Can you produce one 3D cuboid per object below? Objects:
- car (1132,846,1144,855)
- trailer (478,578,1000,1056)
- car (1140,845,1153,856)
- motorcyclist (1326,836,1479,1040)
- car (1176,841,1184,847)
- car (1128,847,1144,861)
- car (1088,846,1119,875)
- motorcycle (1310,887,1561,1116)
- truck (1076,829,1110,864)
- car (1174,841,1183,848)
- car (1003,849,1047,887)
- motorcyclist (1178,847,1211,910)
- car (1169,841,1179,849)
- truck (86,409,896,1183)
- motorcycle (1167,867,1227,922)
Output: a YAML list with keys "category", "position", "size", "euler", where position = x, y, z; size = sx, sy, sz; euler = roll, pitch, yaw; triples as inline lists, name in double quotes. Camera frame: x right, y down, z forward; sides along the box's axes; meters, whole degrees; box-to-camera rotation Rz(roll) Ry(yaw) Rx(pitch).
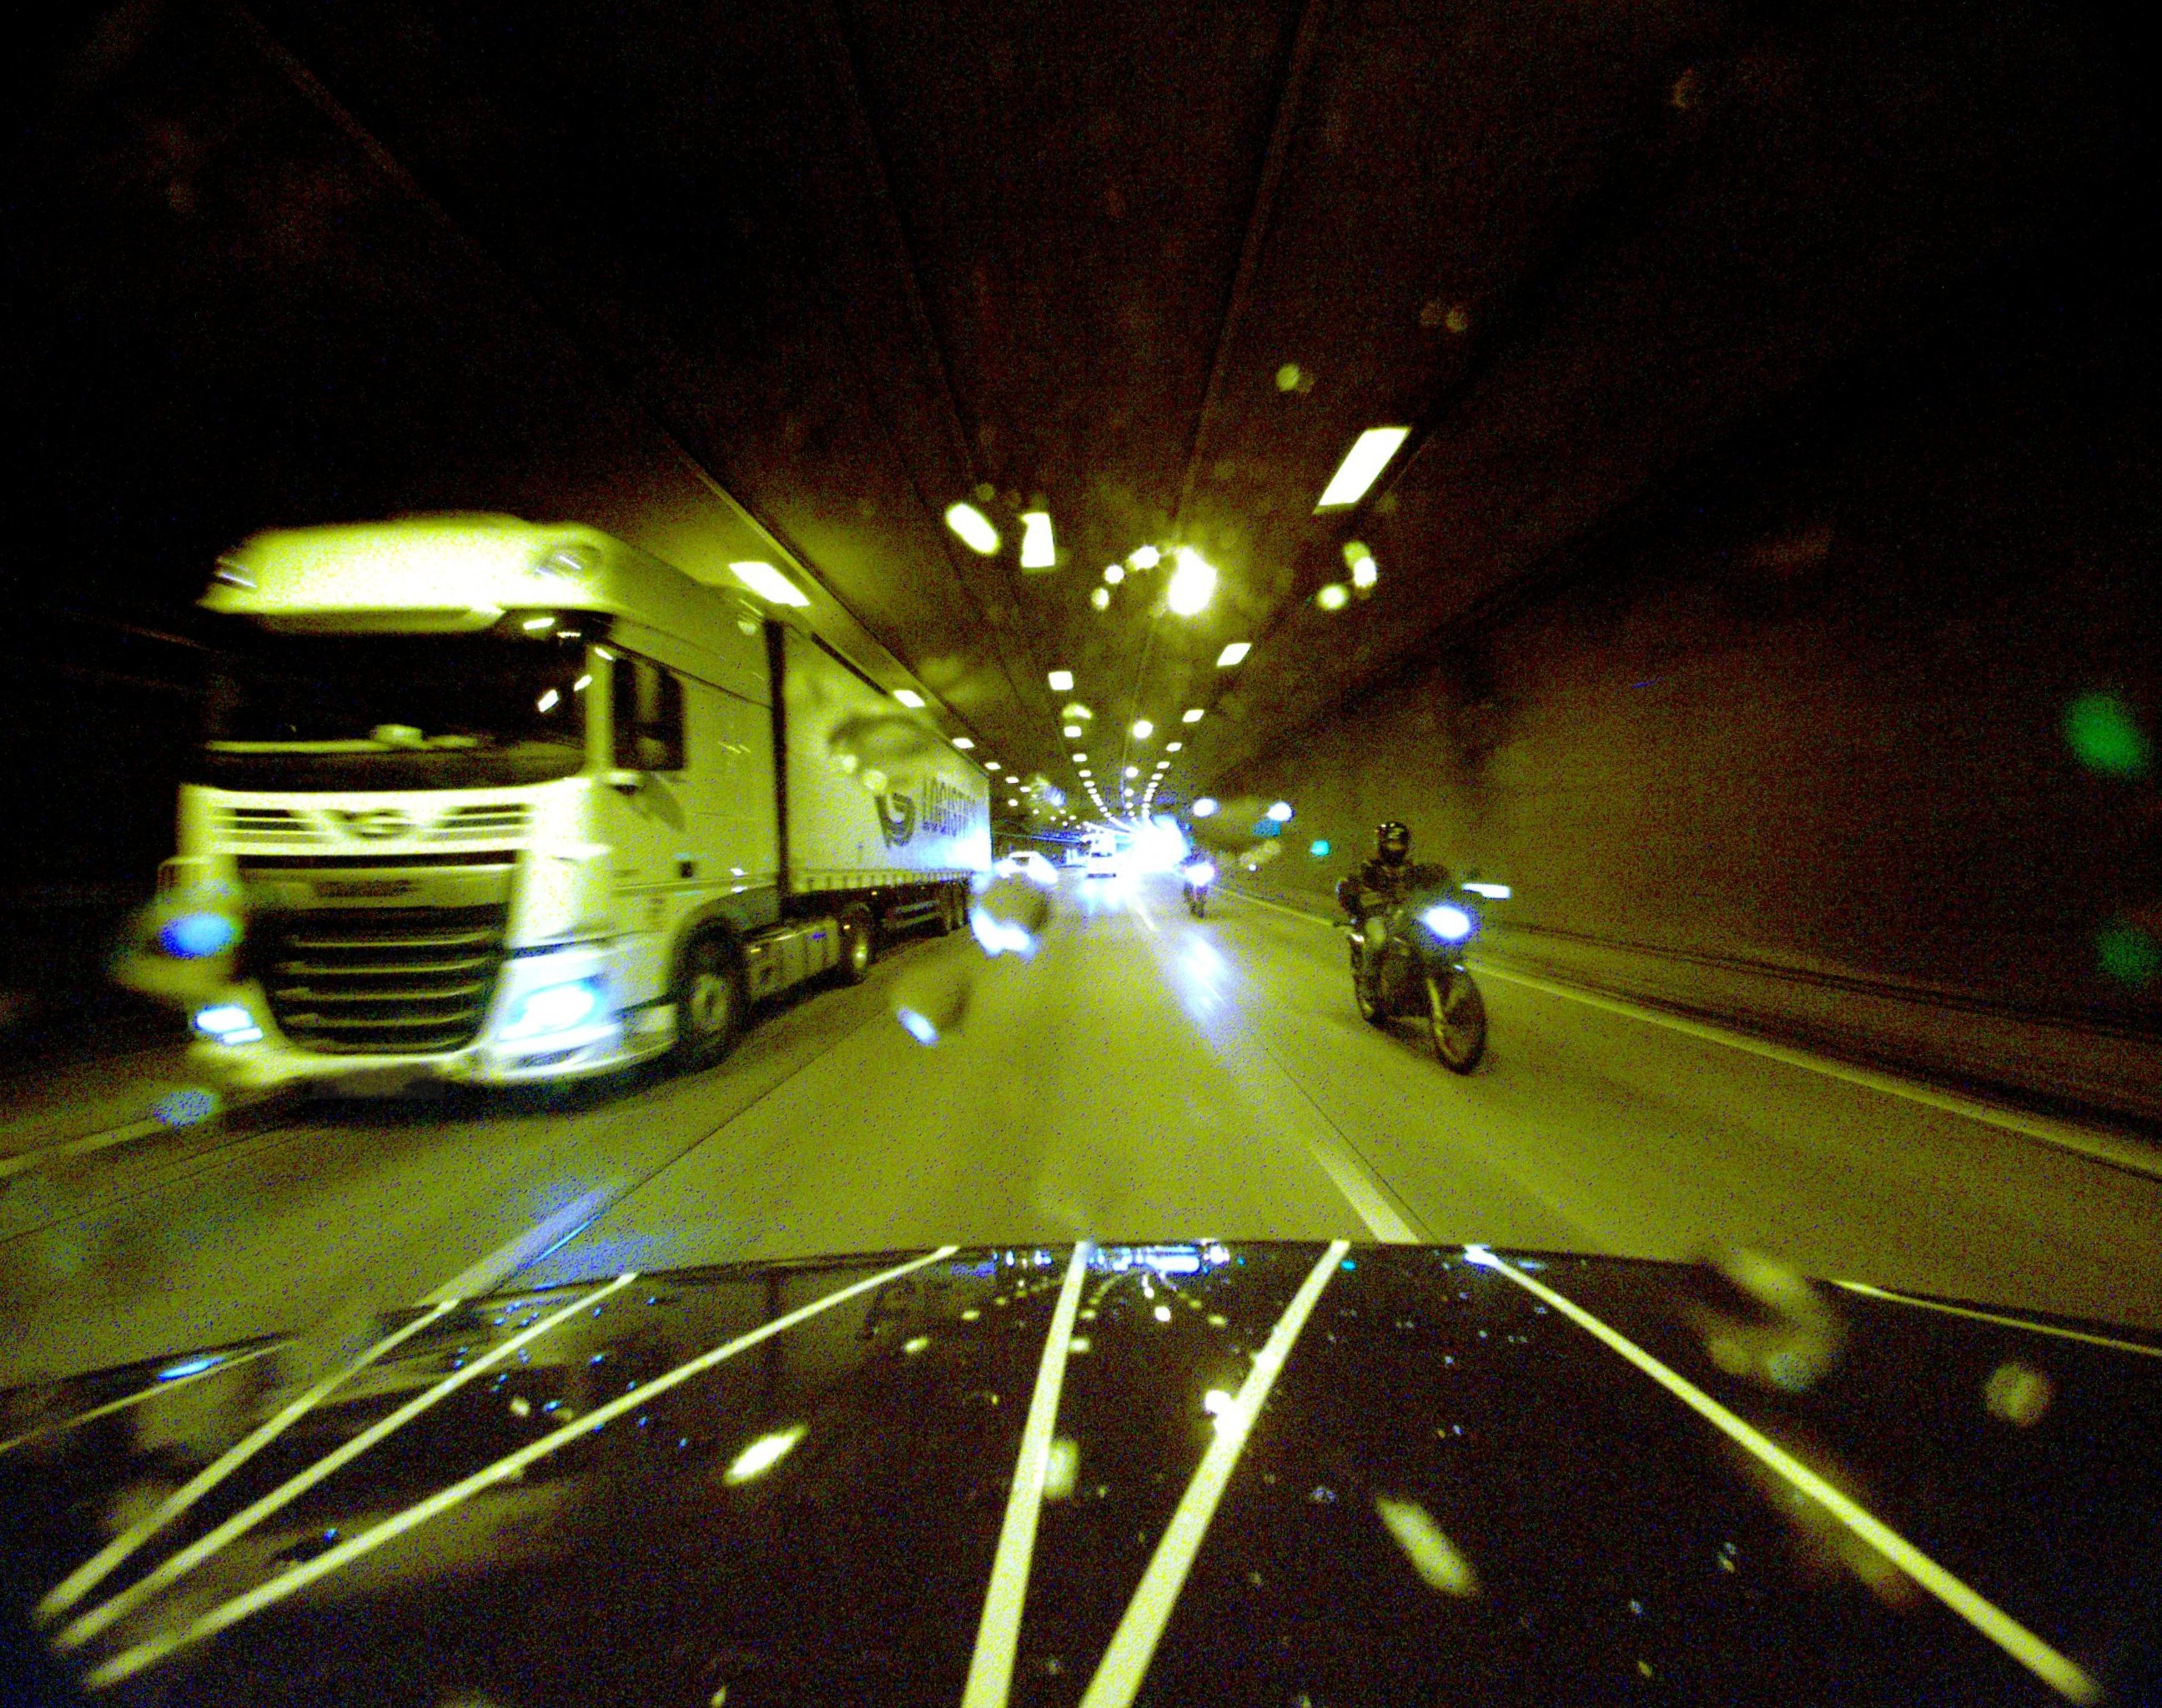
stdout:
- category: "car"
  position: [11.988, -0.666, 159.743]
  size: [1.997, 1.788, 4.002]
  euler: [-3, 1, 8]
- category: "trailer"
  position: [-3.809, -0.349, 13.803]
  size: [2.627, 4.139, 14.001]
  euler: [-3, 0, 1]
- category: "car"
  position: [11.842, -0.662, 136.676]
  size: [1.997, 1.788, 4.002]
  euler: [-3, 1, 8]
- category: "motorcyclist"
  position: [2.474, 0.619, 5.952]
  size: [0.841, 1.469, 0.821]
  euler: [-2, 0, 3]
- category: "car"
  position: [30.907, -3.103, 237.049]
  size: [1.996, 1.788, 4.003]
  euler: [-3, 1, 14]
- category: "car"
  position: [7.758, -0.024, 107.793]
  size: [1.997, 1.788, 4.001]
  euler: [-3, 1, 7]
- category: "car"
  position: [1.572, 0.441, 52.004]
  size: [1.998, 1.890, 4.000]
  euler: [-1, 0, 2]
- category: "motorcycle"
  position: [2.529, 0.954, 5.889]
  size: [0.847, 1.238, 2.605]
  euler: [-2, 0, 4]
- category: "truck"
  position: [1.573, -0.959, 91.312]
  size: [2.899, 3.819, 9.001]
  euler: [-3, 1, 7]
- category: "car"
  position: [27.747, -2.714, 216.437]
  size: [1.996, 1.788, 4.003]
  euler: [-3, 1, 14]
- category: "car"
  position: [-2.923, 0.693, 40.256]
  size: [1.839, 1.849, 4.288]
  euler: [-2, 0, 2]
- category: "motorcyclist"
  position: [2.766, 0.574, 18.550]
  size: [0.628, 1.480, 0.890]
  euler: [-2, 1, 1]
- category: "car"
  position: [24.579, -2.375, 200.400]
  size: [1.997, 1.788, 4.003]
  euler: [-3, 1, 12]
- category: "truck"
  position: [-3.975, -0.306, 7.178]
  size: [2.653, 4.139, 6.005]
  euler: [-2, 0, 1]
- category: "motorcycle"
  position: [2.772, 0.940, 18.399]
  size: [1.056, 1.151, 2.427]
  euler: [-2, 0, 0]
